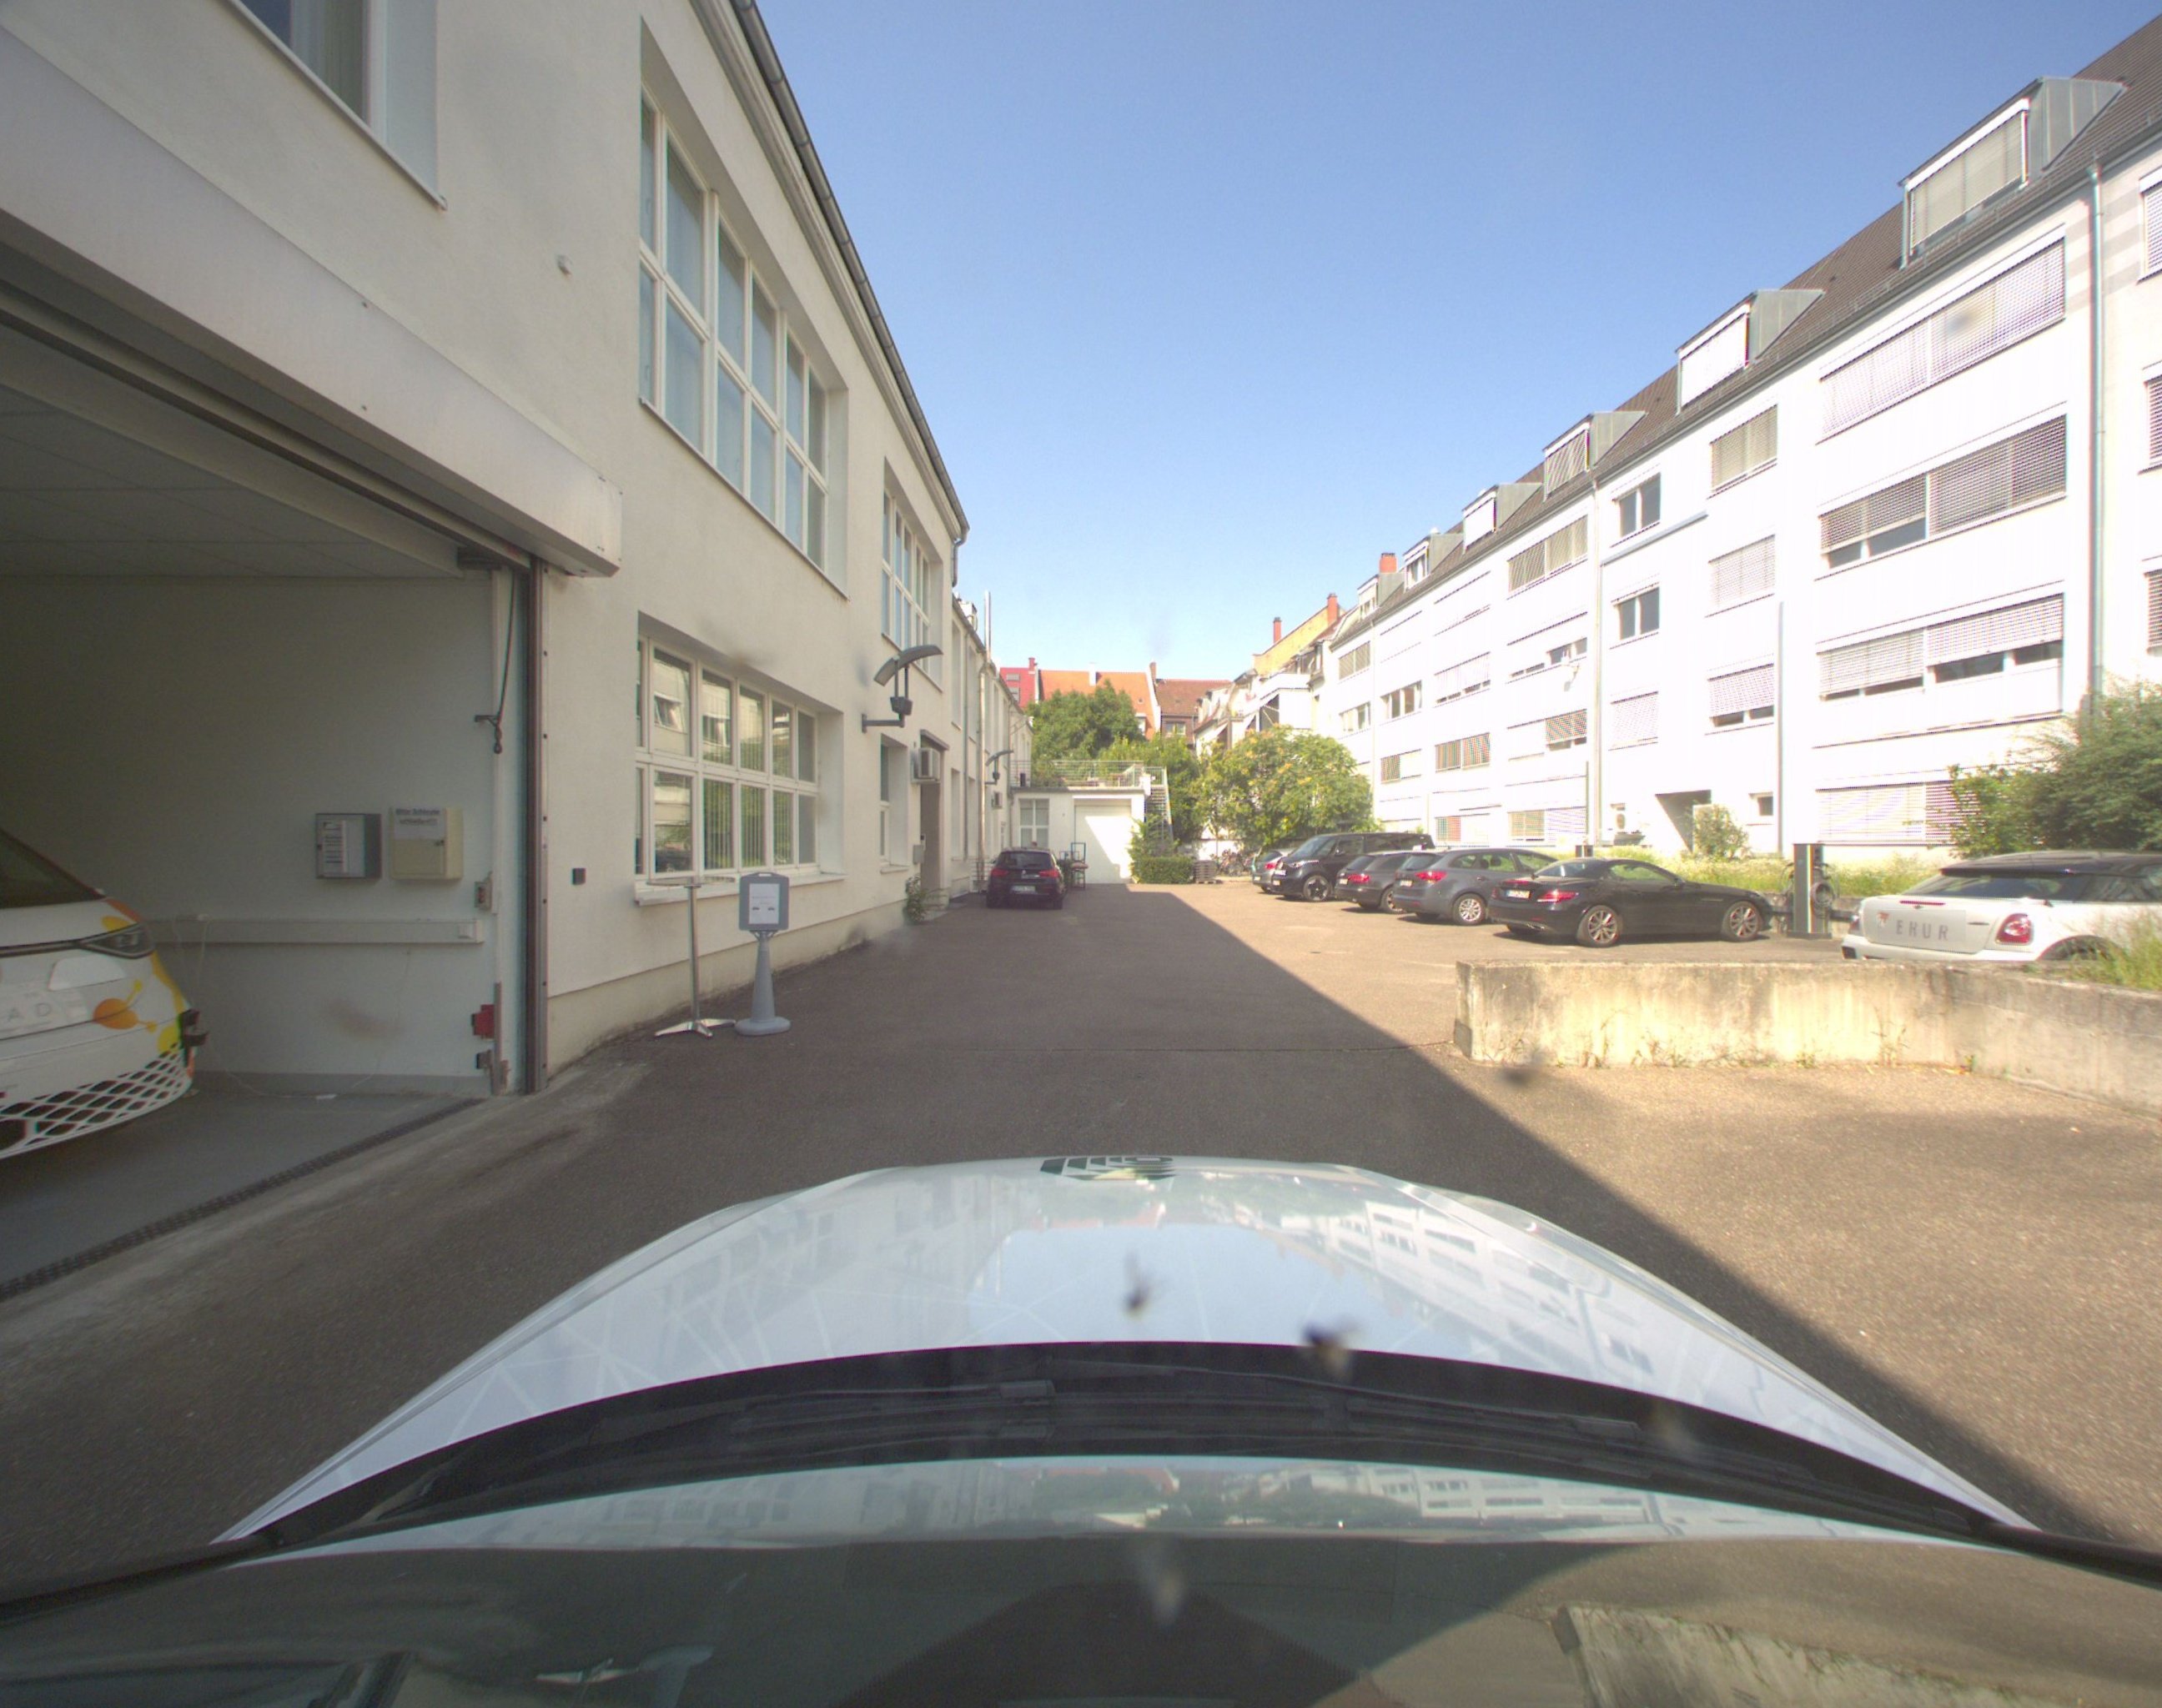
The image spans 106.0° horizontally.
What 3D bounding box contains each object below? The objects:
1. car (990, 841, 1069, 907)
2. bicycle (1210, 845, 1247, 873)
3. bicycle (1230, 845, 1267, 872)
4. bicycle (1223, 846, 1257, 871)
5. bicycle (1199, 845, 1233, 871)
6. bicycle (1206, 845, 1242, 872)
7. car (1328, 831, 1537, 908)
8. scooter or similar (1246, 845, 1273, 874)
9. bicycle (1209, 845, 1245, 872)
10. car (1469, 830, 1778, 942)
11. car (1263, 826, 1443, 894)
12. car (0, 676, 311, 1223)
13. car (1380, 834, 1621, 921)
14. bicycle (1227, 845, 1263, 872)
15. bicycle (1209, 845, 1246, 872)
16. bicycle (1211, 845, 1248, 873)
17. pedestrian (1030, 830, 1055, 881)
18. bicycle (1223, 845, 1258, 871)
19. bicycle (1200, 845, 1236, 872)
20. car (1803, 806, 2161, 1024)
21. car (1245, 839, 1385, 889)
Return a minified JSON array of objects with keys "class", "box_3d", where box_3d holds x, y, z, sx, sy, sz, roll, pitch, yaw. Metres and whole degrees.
[{"class":"car","box_3d":[-1.172,0.440,20.119,1.683,1.459,3.922,0,0,0]},{"class":"bicycle","box_3d":[6.654,0.216,36.712,1.616,1.214,0.327,-1,0,2]},{"class":"bicycle","box_3d":[7.755,0.215,37.659,1.610,1.214,0.328,-1,0,16]},{"class":"bicycle","box_3d":[7.848,0.206,40.122,1.611,1.214,0.425,-1,0,13]},{"class":"bicycle","box_3d":[6.638,0.203,40.058,1.619,1.214,0.423,-1,0,-4]},{"class":"bicycle","box_3d":[6.690,0.210,38.142,1.611,1.214,0.328,-1,0,14]},{"class":"car","box_3d":[8.051,0.344,18.900,4.105,1.691,1.770,0,0,-2]},{"class":"scooter or similar","box_3d":[7.974,0.226,36.444,0.381,1.261,1.336,-1,1,-30]},{"class":"bicycle","box_3d":[6.757,0.212,37.777,1.612,1.214,0.328,-1,0,11]},{"class":"car","box_3d":[8.449,0.457,12.866,3.797,1.589,1.892,0,0,-9]},{"class":"car","box_3d":[7.655,0.160,23.111,4.497,1.794,1.878,-1,0,-8]},{"class":"car","box_3d":[-6.490,0.338,3.321,4.729,2.092,2.056,1,0,1]},{"class":"car","box_3d":[8.162,0.434,16.077,3.854,1.589,1.877,0,0,-4]},{"class":"bicycle","box_3d":[7.761,0.212,38.519,1.611,1.214,0.426,-1,0,14]},{"class":"bicycle","box_3d":[6.709,0.213,37.327,1.616,1.214,0.327,-1,0,2]},{"class":"bicycle","box_3d":[6.729,0.215,37.032,1.616,1.214,0.327,-1,0,2]},{"class":"pedestrian","box_3d":[-1.515,0.066,32.391,0.910,2.013,0.935,0,0,2]},{"class":"bicycle","box_3d":[7.676,0.209,39.098,1.611,1.214,0.425,-1,0,13]},{"class":"bicycle","box_3d":[6.522,0.208,38.823,1.617,1.214,0.424,-1,0,0]},{"class":"car","box_3d":[9.089,0.424,7.295,3.608,1.545,1.802,-4,0,-1]},{"class":"car","box_3d":[7.407,0.308,26.003,3.929,1.482,1.770,-1,0,-8]}]
